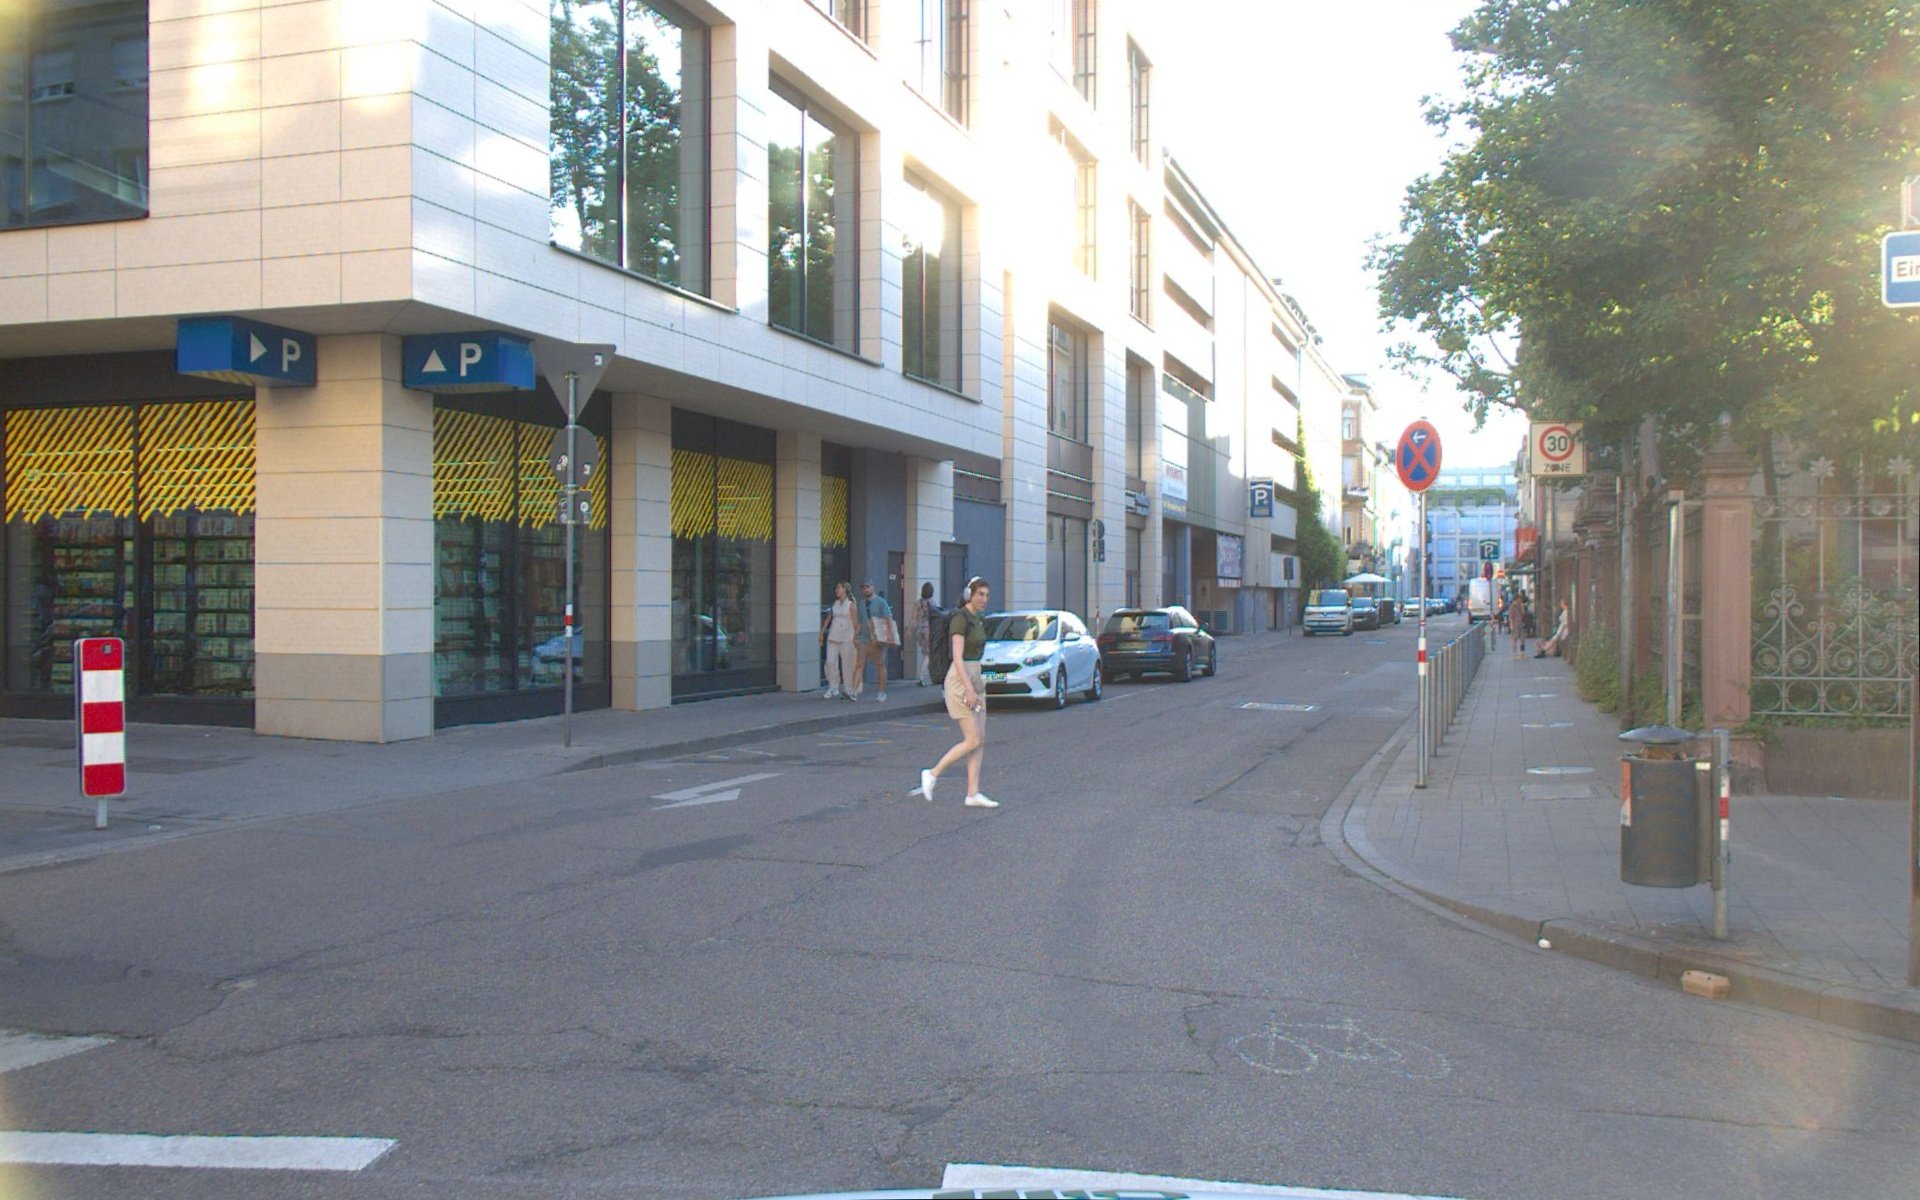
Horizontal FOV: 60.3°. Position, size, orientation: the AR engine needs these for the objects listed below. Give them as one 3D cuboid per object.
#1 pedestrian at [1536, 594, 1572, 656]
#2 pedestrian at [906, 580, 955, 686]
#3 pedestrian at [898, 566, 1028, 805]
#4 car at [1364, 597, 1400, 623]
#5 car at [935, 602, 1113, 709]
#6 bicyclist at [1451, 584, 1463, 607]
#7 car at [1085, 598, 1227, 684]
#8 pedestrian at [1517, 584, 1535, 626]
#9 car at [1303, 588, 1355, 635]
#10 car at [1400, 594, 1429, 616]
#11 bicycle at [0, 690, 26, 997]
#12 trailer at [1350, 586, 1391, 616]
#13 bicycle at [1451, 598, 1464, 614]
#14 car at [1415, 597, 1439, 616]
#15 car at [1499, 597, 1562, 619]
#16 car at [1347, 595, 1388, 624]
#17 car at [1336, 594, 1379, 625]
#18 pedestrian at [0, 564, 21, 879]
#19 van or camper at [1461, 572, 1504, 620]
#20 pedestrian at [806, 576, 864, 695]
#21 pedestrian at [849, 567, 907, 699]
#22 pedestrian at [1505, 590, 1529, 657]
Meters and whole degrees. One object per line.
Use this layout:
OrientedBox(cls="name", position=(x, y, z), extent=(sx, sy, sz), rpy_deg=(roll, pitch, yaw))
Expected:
OrientedBox(cls="pedestrian", position=(15.002, 0.621, 41.796), extent=(0.733, 1.526, 0.619), rpy_deg=(-2, 0, 13))
OrientedBox(cls="pedestrian", position=(-0.504, 0.547, 28.137), extent=(0.658, 1.775, 0.647), rpy_deg=(0, 0, 18))
OrientedBox(cls="pedestrian", position=(0.018, 0.627, 12.700), extent=(0.631, 1.753, 0.834), rpy_deg=(0, 0, -37))
OrientedBox(cls="car", position=(24.039, 0.557, 94.124), extent=(1.844, 1.478, 4.002), rpy_deg=(0, 0, 17))
OrientedBox(cls="car", position=(1.079, 0.787, 25.466), extent=(1.740, 1.478, 4.233), rpy_deg=(0, 0, 17))
OrientedBox(cls="bicyclist", position=(41.779, -0.407, 138.990), extent=(0.969, 1.901, 0.708), rpy_deg=(0, -1, 19))
OrientedBox(cls="car", position=(4.094, 0.772, 33.843), extent=(1.844, 1.626, 4.690), rpy_deg=(0, 0, 20))
OrientedBox(cls="pedestrian", position=(23.090, 0.190, 67.459), extent=(0.648, 1.695, 0.624), rpy_deg=(-2, -1, 19))
OrientedBox(cls="car", position=(15.731, 0.472, 70.356), extent=(1.843, 1.945, 4.751), rpy_deg=(0, 0, 17))
OrientedBox(cls="car", position=(34.818, 0.391, 126.667), extent=(1.952, 1.713, 4.001), rpy_deg=(0, 0, 18))
OrientedBox(cls="bicycle", position=(-4.105, 0.920, 5.561), extent=(0.649, 1.158, 1.823), rpy_deg=(0, -1, 10))
OrientedBox(cls="trailer", position=(22.323, 0.053, 89.803), extent=(1.951, 1.584, 4.002), rpy_deg=(0, 0, 17))
OrientedBox(cls="bicycle", position=(41.824, 0.518, 139.101), extent=(0.955, 1.302, 2.755), rpy_deg=(0, -1, 18))
OrientedBox(cls="car", position=(41.847, 0.587, 148.191), extent=(1.952, 1.713, 4.001), rpy_deg=(0, 0, 18))
OrientedBox(cls="car", position=(37.738, 0.518, 109.456), extent=(3.904, 1.445, 1.657), rpy_deg=(0, -1, 19))
OrientedBox(cls="car", position=(21.127, 0.457, 85.609), extent=(1.844, 1.478, 4.002), rpy_deg=(0, 0, 17))
OrientedBox(cls="car", position=(19.498, 0.424, 81.067), extent=(1.844, 1.478, 4.002), rpy_deg=(0, 0, 17))
OrientedBox(cls="pedestrian", position=(-5.561, 0.651, 8.727), extent=(0.605, 1.687, 0.870), rpy_deg=(0, 0, 30))
OrientedBox(cls="van or camper", position=(31.705, -0.210, 100.277), extent=(2.211, 2.653, 5.114), rpy_deg=(-4, -2, 18))
OrientedBox(cls="pedestrian", position=(-1.815, 0.505, 23.990), extent=(0.657, 1.704, 0.648), rpy_deg=(0, 0, 16))
OrientedBox(cls="pedestrian", position=(-1.180, 0.461, 23.759), extent=(0.657, 1.868, 0.648), rpy_deg=(0, 0, 16))
OrientedBox(cls="pedestrian", position=(14.238, 0.607, 42.288), extent=(0.474, 1.687, 0.619), rpy_deg=(-2, 0, 11))
